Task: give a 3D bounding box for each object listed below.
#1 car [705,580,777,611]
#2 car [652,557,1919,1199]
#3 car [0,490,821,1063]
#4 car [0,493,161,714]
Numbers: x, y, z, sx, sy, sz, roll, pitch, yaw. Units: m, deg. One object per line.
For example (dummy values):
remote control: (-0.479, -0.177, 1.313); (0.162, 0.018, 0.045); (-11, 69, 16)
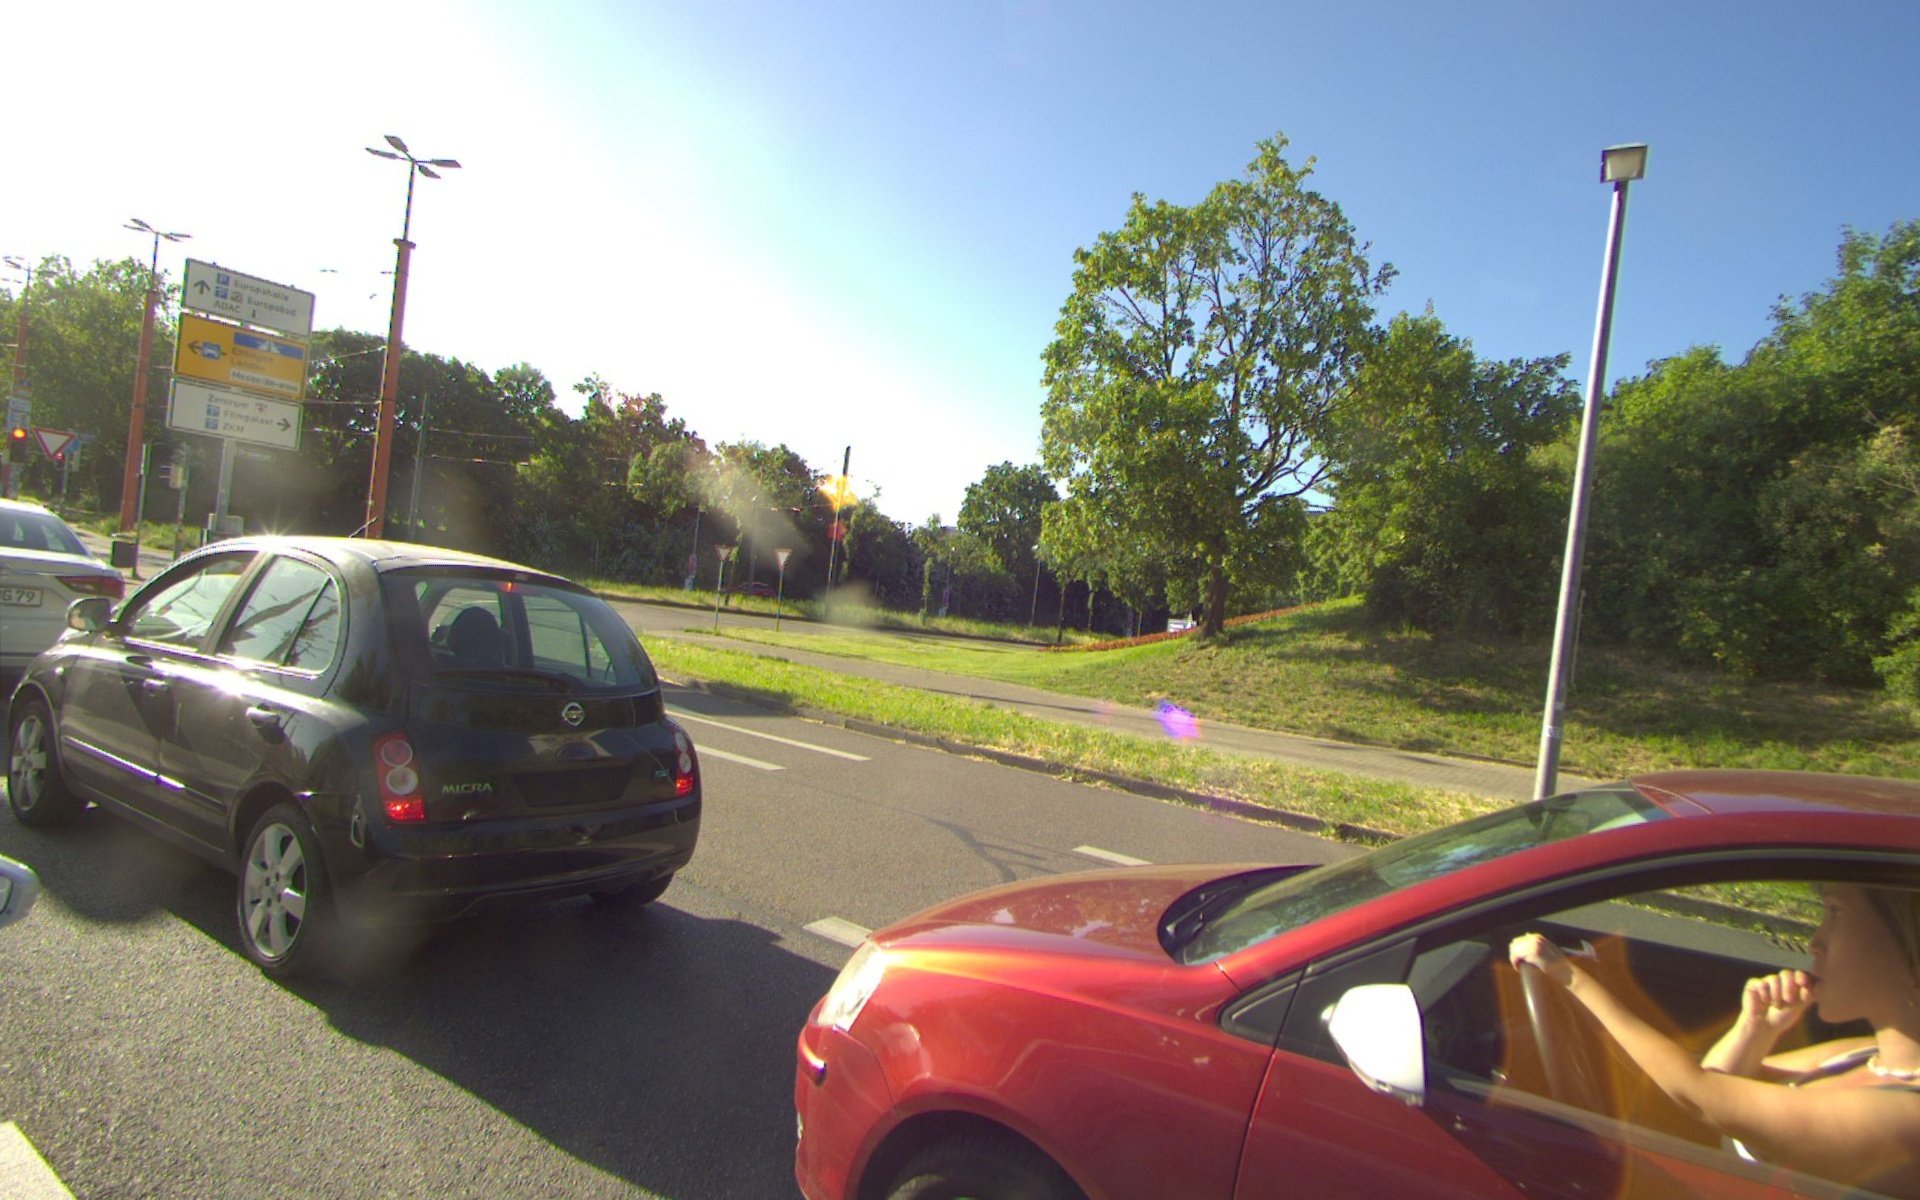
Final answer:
car: (-14.949, -0.322, 68.661); (4.244, 1.513, 1.984); (8, 0, -31)
car: (1.812, 1.005, 1.629); (4.649, 1.577, 1.769); (7, 0, 33)
car: (-3.054, 0.438, 4.878); (4.546, 1.500, 1.737); (7, 0, 32)
car: (-8.318, -0.183, 7.979); (4.295, 1.482, 1.769); (7, 0, 33)
